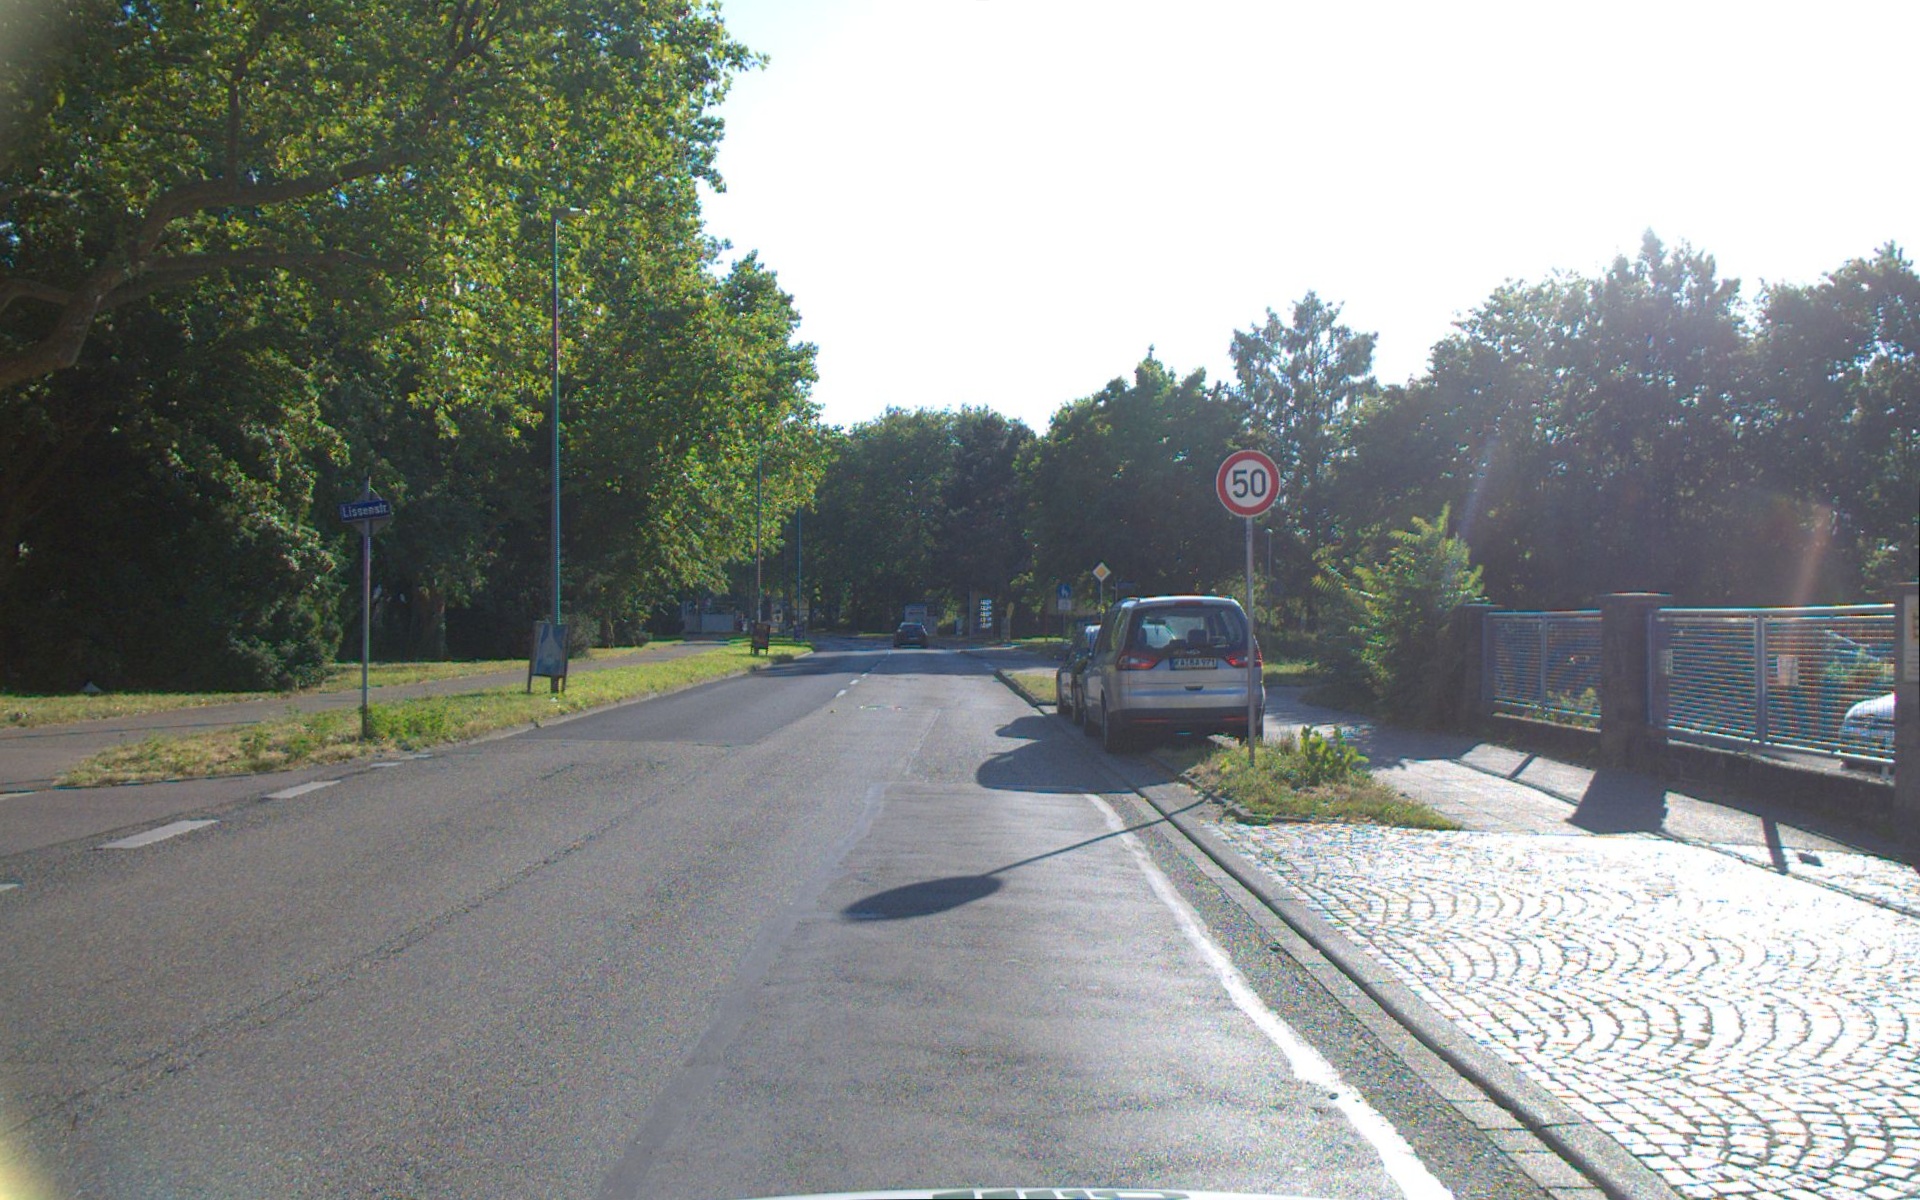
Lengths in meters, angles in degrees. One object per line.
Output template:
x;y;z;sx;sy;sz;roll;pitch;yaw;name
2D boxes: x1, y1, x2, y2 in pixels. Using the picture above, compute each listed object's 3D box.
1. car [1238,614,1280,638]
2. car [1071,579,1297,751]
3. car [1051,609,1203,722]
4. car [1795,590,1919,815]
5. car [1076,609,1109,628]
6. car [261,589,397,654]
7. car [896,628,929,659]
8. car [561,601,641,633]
22.982;2.003;127.299;1.778;1.758;4.390;4;-1;-8;car
2.575;0.725;20.252;1.953;1.790;4.915;-2;-1;-1;car
2.466;0.942;25.528;1.746;1.542;4.688;-1;-1;-1;car
8.743;0.755;12.549;3.905;1.587;1.841;1;-1;0;car
10.040;1.404;125.347;1.805;1.445;3.995;0;0;-5;car
-21.203;0.714;55.708;3.914;2.080;1.904;1;1;-10;car
-2.639;2.434;92.957;1.802;1.633;3.862;0;0;-1;car
-18.816;0.885;86.748;3.912;1.534;1.909;2;-1;-9;car
